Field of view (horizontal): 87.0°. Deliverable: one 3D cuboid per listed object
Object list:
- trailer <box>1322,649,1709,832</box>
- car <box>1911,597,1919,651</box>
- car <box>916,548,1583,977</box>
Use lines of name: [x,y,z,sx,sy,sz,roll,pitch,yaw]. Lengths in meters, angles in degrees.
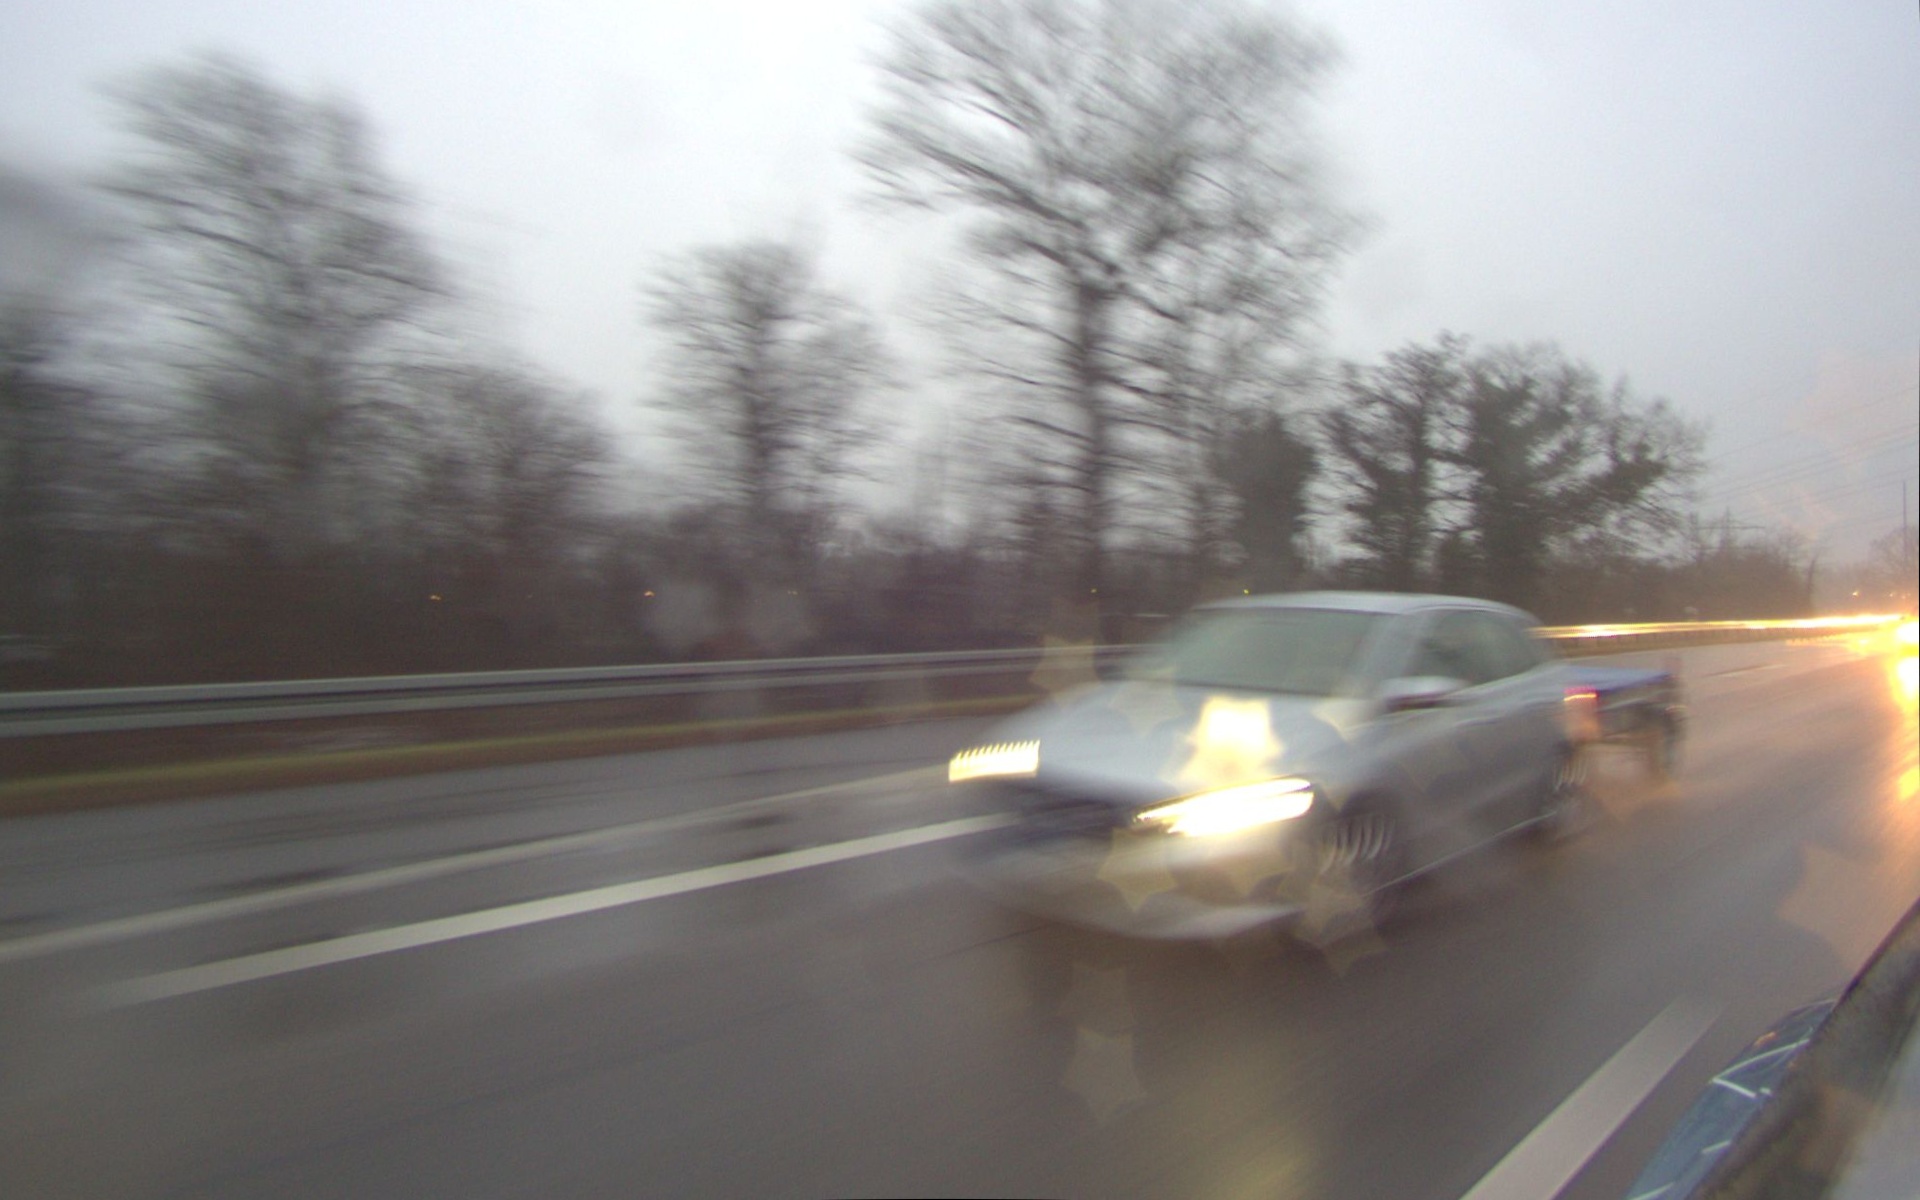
trailer: [4.347,0.939,7.818,2.899,0.936,1.751,0,1,-41]
car: [28.656,0.657,29.059,3.531,1.510,1.597,0,-1,-41]
car: [1.769,0.565,5.541,3.745,1.535,1.789,0,0,-41]
